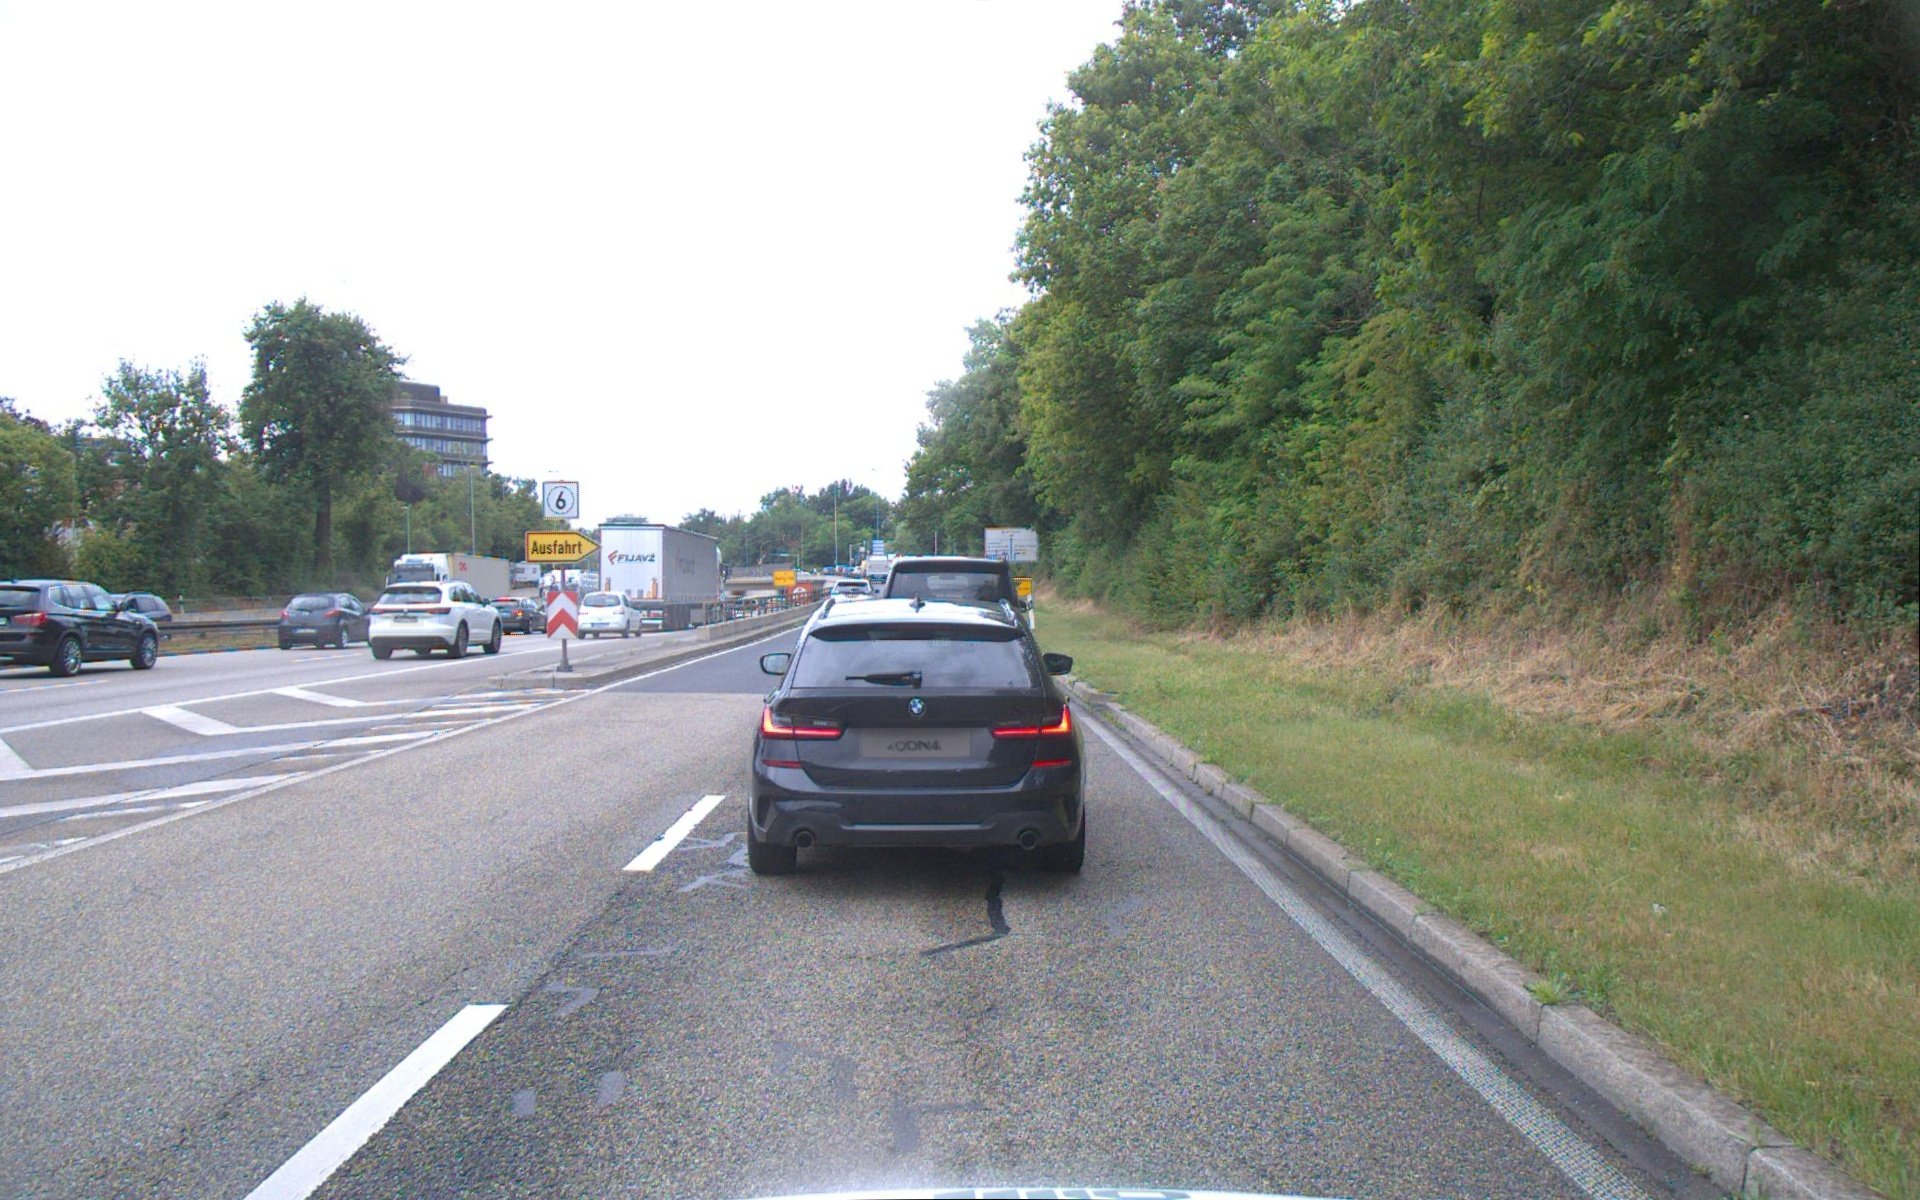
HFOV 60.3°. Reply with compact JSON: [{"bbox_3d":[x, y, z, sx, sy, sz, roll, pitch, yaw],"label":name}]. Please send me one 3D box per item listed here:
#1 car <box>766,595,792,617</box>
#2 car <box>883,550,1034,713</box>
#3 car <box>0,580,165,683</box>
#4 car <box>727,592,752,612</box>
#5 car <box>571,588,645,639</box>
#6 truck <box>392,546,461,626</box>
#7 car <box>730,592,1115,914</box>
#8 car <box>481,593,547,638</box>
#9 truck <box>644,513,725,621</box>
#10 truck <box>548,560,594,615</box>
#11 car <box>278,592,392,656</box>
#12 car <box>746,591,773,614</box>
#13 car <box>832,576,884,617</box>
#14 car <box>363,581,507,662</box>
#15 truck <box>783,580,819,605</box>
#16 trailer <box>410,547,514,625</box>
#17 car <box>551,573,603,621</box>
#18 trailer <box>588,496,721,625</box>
[{"bbox_3d":[-12.733,0.401,116.400,1.418,1.516,3.062,-1,0,0],"label":"car"},{"bbox_3d":[-0.040,0.361,21.394,1.759,1.904,3.999,0,0,-1],"label":"car"},{"bbox_3d":[-16.279,0.515,29.855,1.852,1.711,4.305,-1,0,-2],"label":"car"},{"bbox_3d":[-17.213,0.139,129.069,1.561,1.457,3.062,-1,0,0],"label":"car"},{"bbox_3d":[-11.409,0.402,53.763,1.733,1.576,3.491,-1,0,-2],"label":"car"},{"bbox_3d":[-28.141,-0.732,87.366,2.357,4.090,3.999,-1,0,-2],"label":"truck"},{"bbox_3d":[-0.252,0.704,9.768,1.809,1.492,3.998,0,0,-2],"label":"car"},{"bbox_3d":[-17.140,0.571,63.704,1.653,1.660,3.733,1,0,-2],"label":"car"},{"bbox_3d":[-12.573,-1.495,75.752,3.021,4.780,4.231,0,0,-1],"label":"truck"},{"bbox_3d":[-28.949,-0.931,123.152,2.543,4.060,3.999,-1,0,-1],"label":"truck"},{"bbox_3d":[-16.827,0.612,44.695,1.653,1.636,4.006,1,0,-2],"label":"car"},{"bbox_3d":[-12.835,0.152,105.991,1.349,1.422,3.062,-1,0,0],"label":"car"},{"bbox_3d":[-4.189,-0.146,68.562,1.891,1.624,3.877,-1,0,0],"label":"car"},{"bbox_3d":[-11.882,0.437,37.763,1.906,1.721,4.506,-1,0,-1],"label":"car"},{"bbox_3d":[-16.585,-0.781,173.063,3.208,2.553,7.659,-1,0,-1],"label":"truck"},{"bbox_3d":[-28.360,-0.788,94.895,2.349,4.099,13.073,-1,0,-2],"label":"trailer"},{"bbox_3d":[-17.152,-0.162,74.188,1.414,2.080,3.680,-1,0,0],"label":"car"},{"bbox_3d":[-12.479,-1.491,69.199,3.069,4.807,14.555,0,0,-1],"label":"trailer"}]
